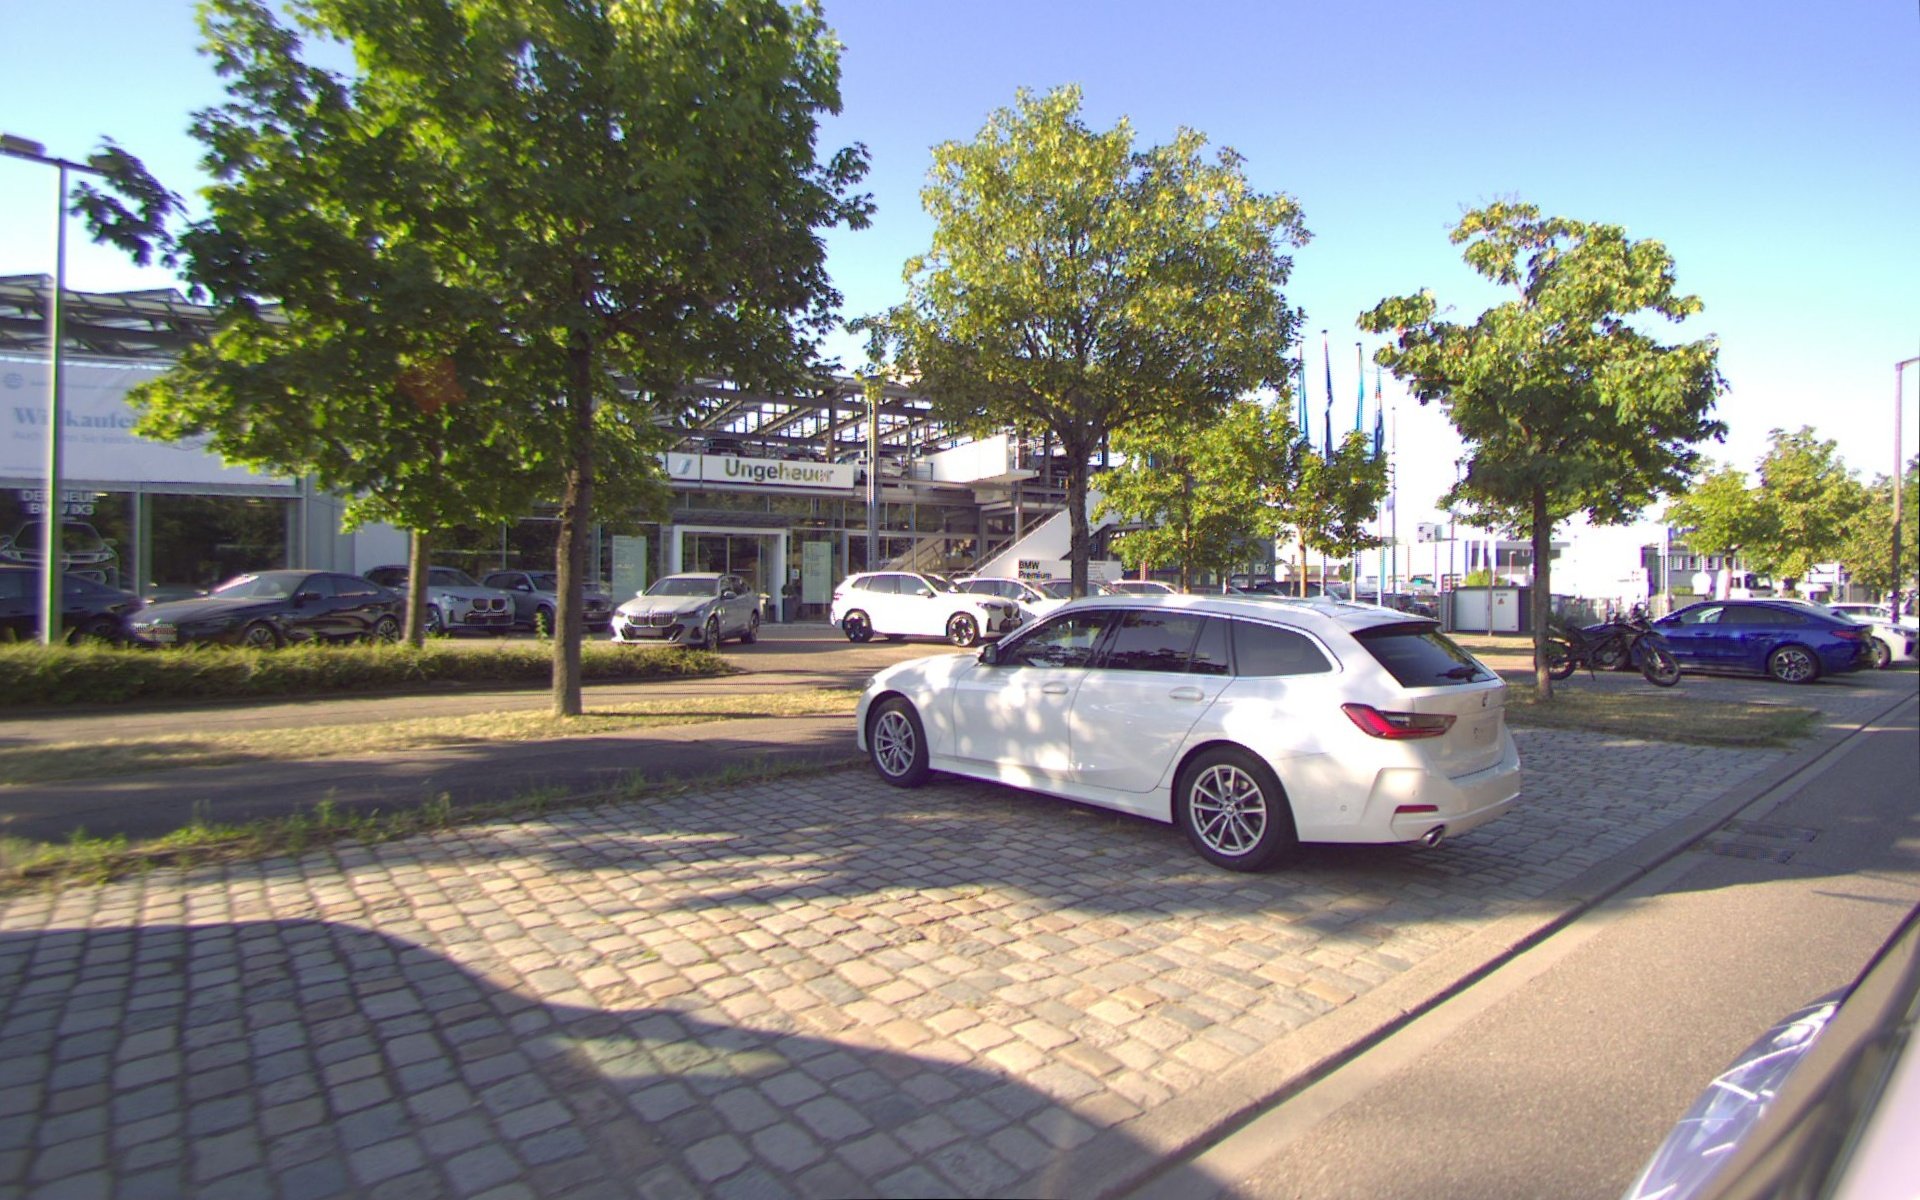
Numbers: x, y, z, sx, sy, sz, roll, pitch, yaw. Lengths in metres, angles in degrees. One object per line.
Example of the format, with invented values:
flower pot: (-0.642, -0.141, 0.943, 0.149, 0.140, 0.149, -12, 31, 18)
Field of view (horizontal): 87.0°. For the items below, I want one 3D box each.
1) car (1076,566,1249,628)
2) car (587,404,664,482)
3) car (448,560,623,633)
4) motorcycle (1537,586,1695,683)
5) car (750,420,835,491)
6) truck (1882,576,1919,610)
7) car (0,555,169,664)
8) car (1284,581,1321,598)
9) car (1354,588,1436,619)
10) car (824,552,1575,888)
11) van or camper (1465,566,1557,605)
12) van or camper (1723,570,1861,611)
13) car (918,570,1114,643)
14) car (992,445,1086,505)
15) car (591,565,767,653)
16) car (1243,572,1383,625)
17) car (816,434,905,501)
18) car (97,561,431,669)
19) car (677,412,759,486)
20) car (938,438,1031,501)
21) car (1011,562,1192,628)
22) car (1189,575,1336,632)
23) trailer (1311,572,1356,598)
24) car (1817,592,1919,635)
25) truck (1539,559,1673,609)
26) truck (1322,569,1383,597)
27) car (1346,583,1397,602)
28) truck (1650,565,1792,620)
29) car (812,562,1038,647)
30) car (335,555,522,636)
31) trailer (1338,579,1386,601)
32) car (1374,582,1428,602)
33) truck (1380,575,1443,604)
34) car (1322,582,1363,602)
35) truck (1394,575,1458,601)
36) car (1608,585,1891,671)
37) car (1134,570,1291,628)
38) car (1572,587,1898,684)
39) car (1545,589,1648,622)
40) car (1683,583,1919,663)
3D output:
car: (5.918, -0.128, 29.735, 4.574, 1.593, 1.976, 2, 2, 34)
car: (-10.755, -4.946, 32.376, 1.750, 1.688, 4.004, 1, -2, -27)
car: (-11.339, -0.137, 26.956, 4.754, 1.796, 1.977, 1, 1, 33)
motorcycle: (10.824, 0.525, 16.776, 2.115, 1.484, 0.938, 1, 1, 34)
car: (-5.845, -4.938, 35.023, 1.751, 1.688, 4.004, 1, -2, -28)
truck: (79.668, -0.515, 84.032, 5.848, 2.754, 2.551, 1, 0, -25)
car: (-13.924, 0.111, 14.007, 1.965, 1.482, 4.783, 1, 1, 5)
car: (43.574, -1.360, 128.635, 3.917, 2.039, 2.004, 1, 0, -11)
car: (25.134, 0.174, 58.600, 2.116, 1.598, 4.008, -2, 2, -22)
car: (1.249, 0.456, 6.936, 1.966, 1.498, 4.701, 0, 2, -43)
van or camper: (50.072, -1.317, 92.299, 2.364, 3.371, 8.155, 1, 1, -15)
van or camper: (62.424, -0.739, 76.216, 2.882, 2.936, 8.026, 1, 1, -10)
car: (1.417, 0.117, 25.568, 4.552, 1.593, 1.985, 2, 1, 22)
car: (3.040, -4.839, 39.721, 1.751, 1.688, 4.003, 1, -2, -28)
car: (-5.683, 0.137, 21.243, 1.964, 1.591, 5.186, 1, 1, 4)
car: (12.553, -0.081, 36.022, 4.553, 1.687, 1.985, 2, 1, 23)
car: (-3.636, -4.693, 36.358, 1.751, 1.688, 4.003, 1, -2, -28)
car: (-10.977, 0.180, 16.517, 1.964, 1.482, 4.785, 1, 1, 4)
car: (-8.145, -4.962, 33.850, 1.751, 1.688, 4.004, 1, -2, -28)
car: (0.850, -4.874, 38.241, 1.751, 1.688, 4.003, 1, -2, -28)
car: (3.855, -0.174, 27.574, 4.552, 1.593, 1.985, 2, 1, 22)
car: (10.128, 0.074, 33.887, 4.552, 1.687, 1.985, 2, 1, 22)
trailer: (45.228, -1.783, 122.600, 4.757, 3.108, 2.003, 1, 0, -10)
car: (34.492, 0.508, 37.294, 2.053, 1.462, 4.204, 0, 2, -43)
truck: (50.979, -1.261, 80.387, 3.229, 3.690, 10.132, 1, 1, -6)
truck: (51.551, -2.244, 133.030, 6.967, 3.620, 2.681, 1, 0, -9)
car: (46.138, -0.821, 113.539, 4.946, 2.039, 2.004, 1, 0, -11)
truck: (52.533, -0.564, 70.222, 3.053, 3.566, 8.263, 1, 1, -5)
car: (-0.816, 0.044, 23.576, 4.684, 1.711, 2.389, 2, 1, 27)
car: (-12.947, -0.156, 24.576, 4.754, 1.796, 1.977, 1, 1, 33)
trailer: (46.557, -1.178, 117.270, 4.757, 2.467, 2.003, 1, 0, -10)
car: (46.810, -0.807, 107.411, 4.946, 2.040, 2.003, 0, -2, -11)
truck: (55.296, -1.291, 123.968, 6.967, 3.393, 2.003, 1, 0, -9)
car: (45.120, -0.922, 119.344, 3.917, 2.306, 2.092, 1, 0, -10)
truck: (55.658, -1.461, 120.997, 6.967, 2.943, 2.003, 1, 0, -9)
car: (16.458, 0.513, 21.277, 1.965, 1.498, 4.384, 0, 2, -41)
car: (7.937, -0.074, 31.770, 4.552, 1.593, 1.985, 2, 1, 22)
car: (14.586, 0.574, 19.283, 1.965, 1.474, 4.633, 0, 2, -41)
car: (32.386, 0.254, 51.614, 1.958, 1.598, 4.008, 1, 1, -22)
car: (20.028, 0.480, 23.764, 1.964, 1.604, 4.601, 0, 2, -39)
